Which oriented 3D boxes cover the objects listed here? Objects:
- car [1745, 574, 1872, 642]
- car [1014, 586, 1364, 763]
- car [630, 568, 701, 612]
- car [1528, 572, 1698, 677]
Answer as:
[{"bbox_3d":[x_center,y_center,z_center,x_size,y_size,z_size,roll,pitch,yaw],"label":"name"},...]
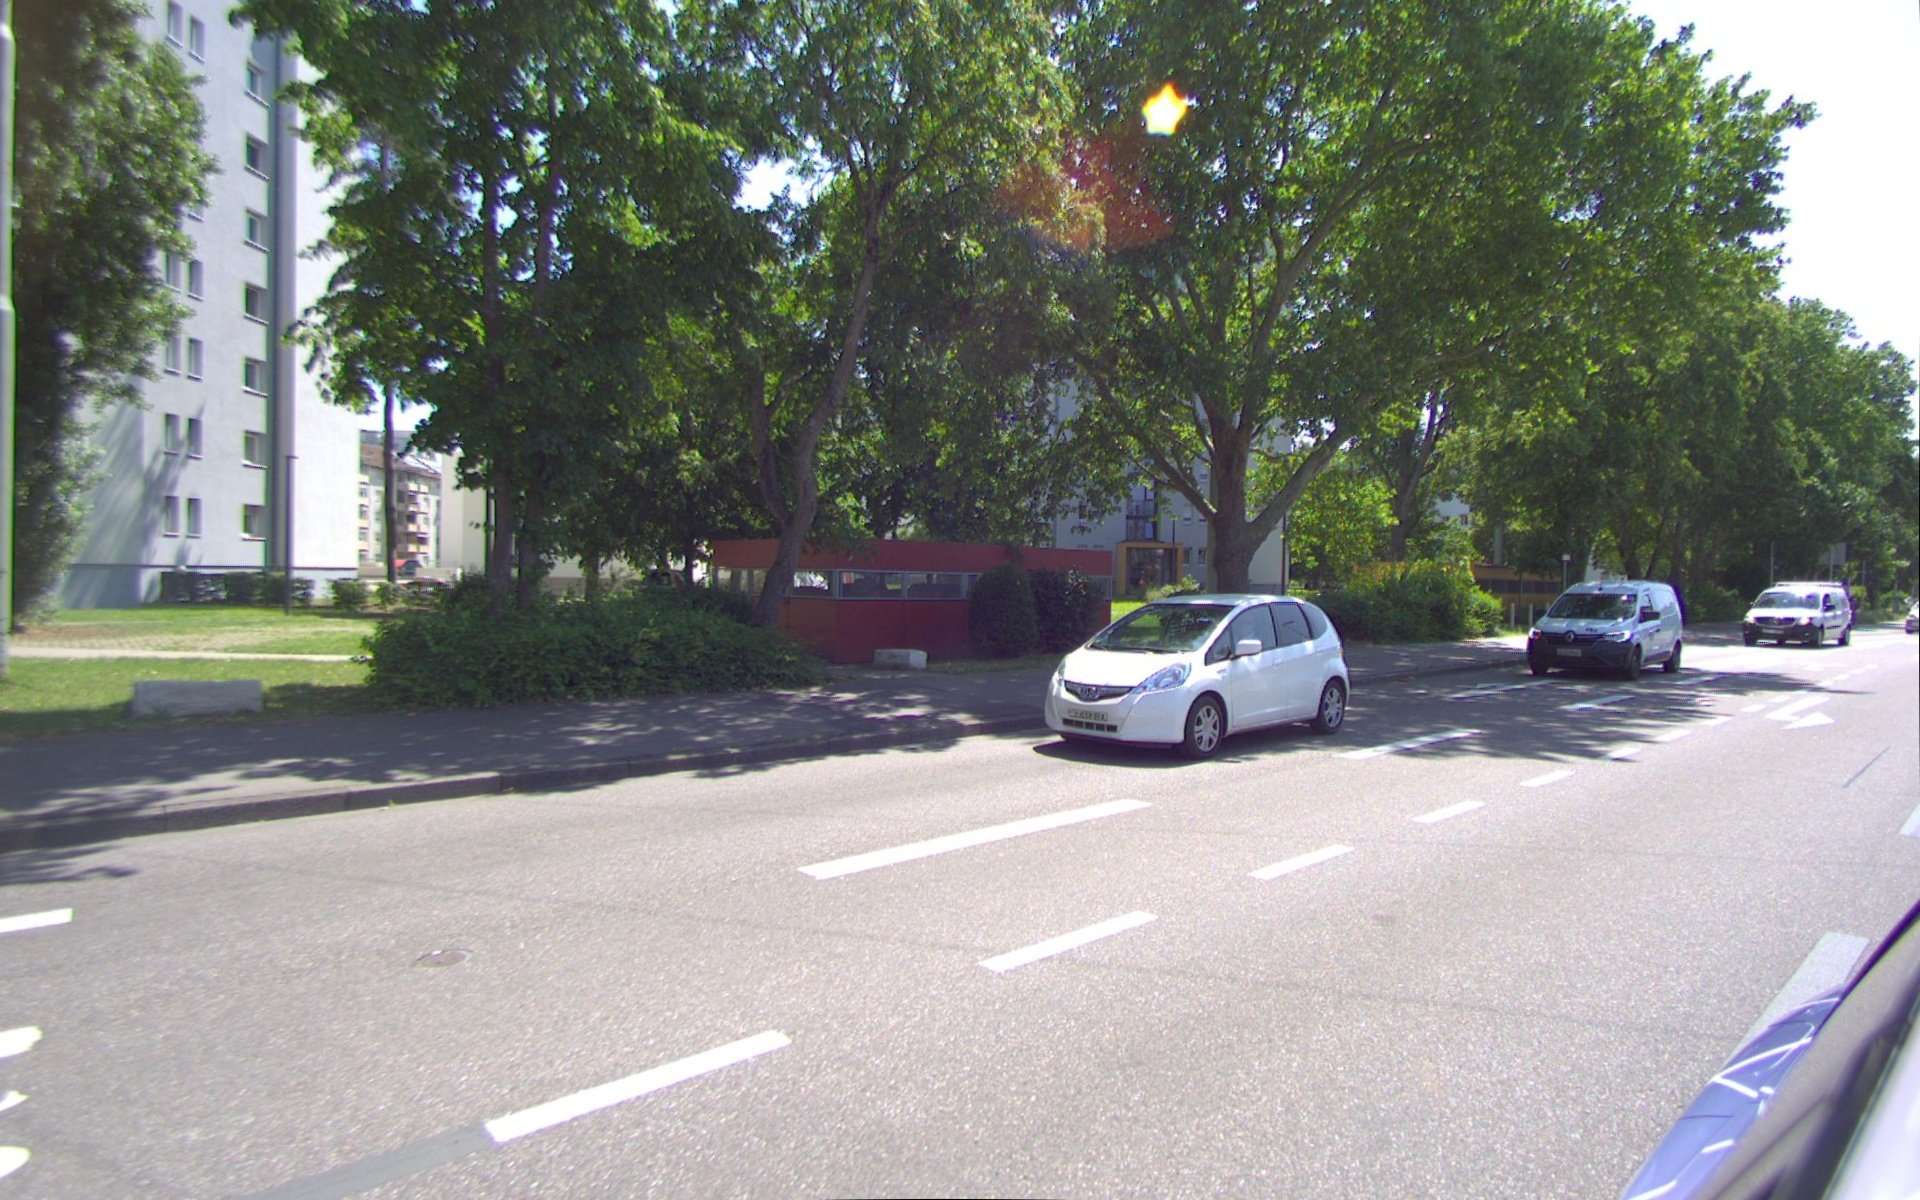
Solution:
[{"bbox_3d":[25.203,0.210,30.010,4.988,1.879,1.810,0,0,-37],"label":"car"},{"bbox_3d":[2.499,0.624,10.537,3.812,1.507,1.722,0,0,-43],"label":"car"},{"bbox_3d":[-12.133,-0.411,41.870,1.709,1.722,3.746,0,0,3],"label":"car"},{"bbox_3d":[12.516,0.405,19.285,4.352,1.769,1.711,0,0,-43],"label":"car"}]
